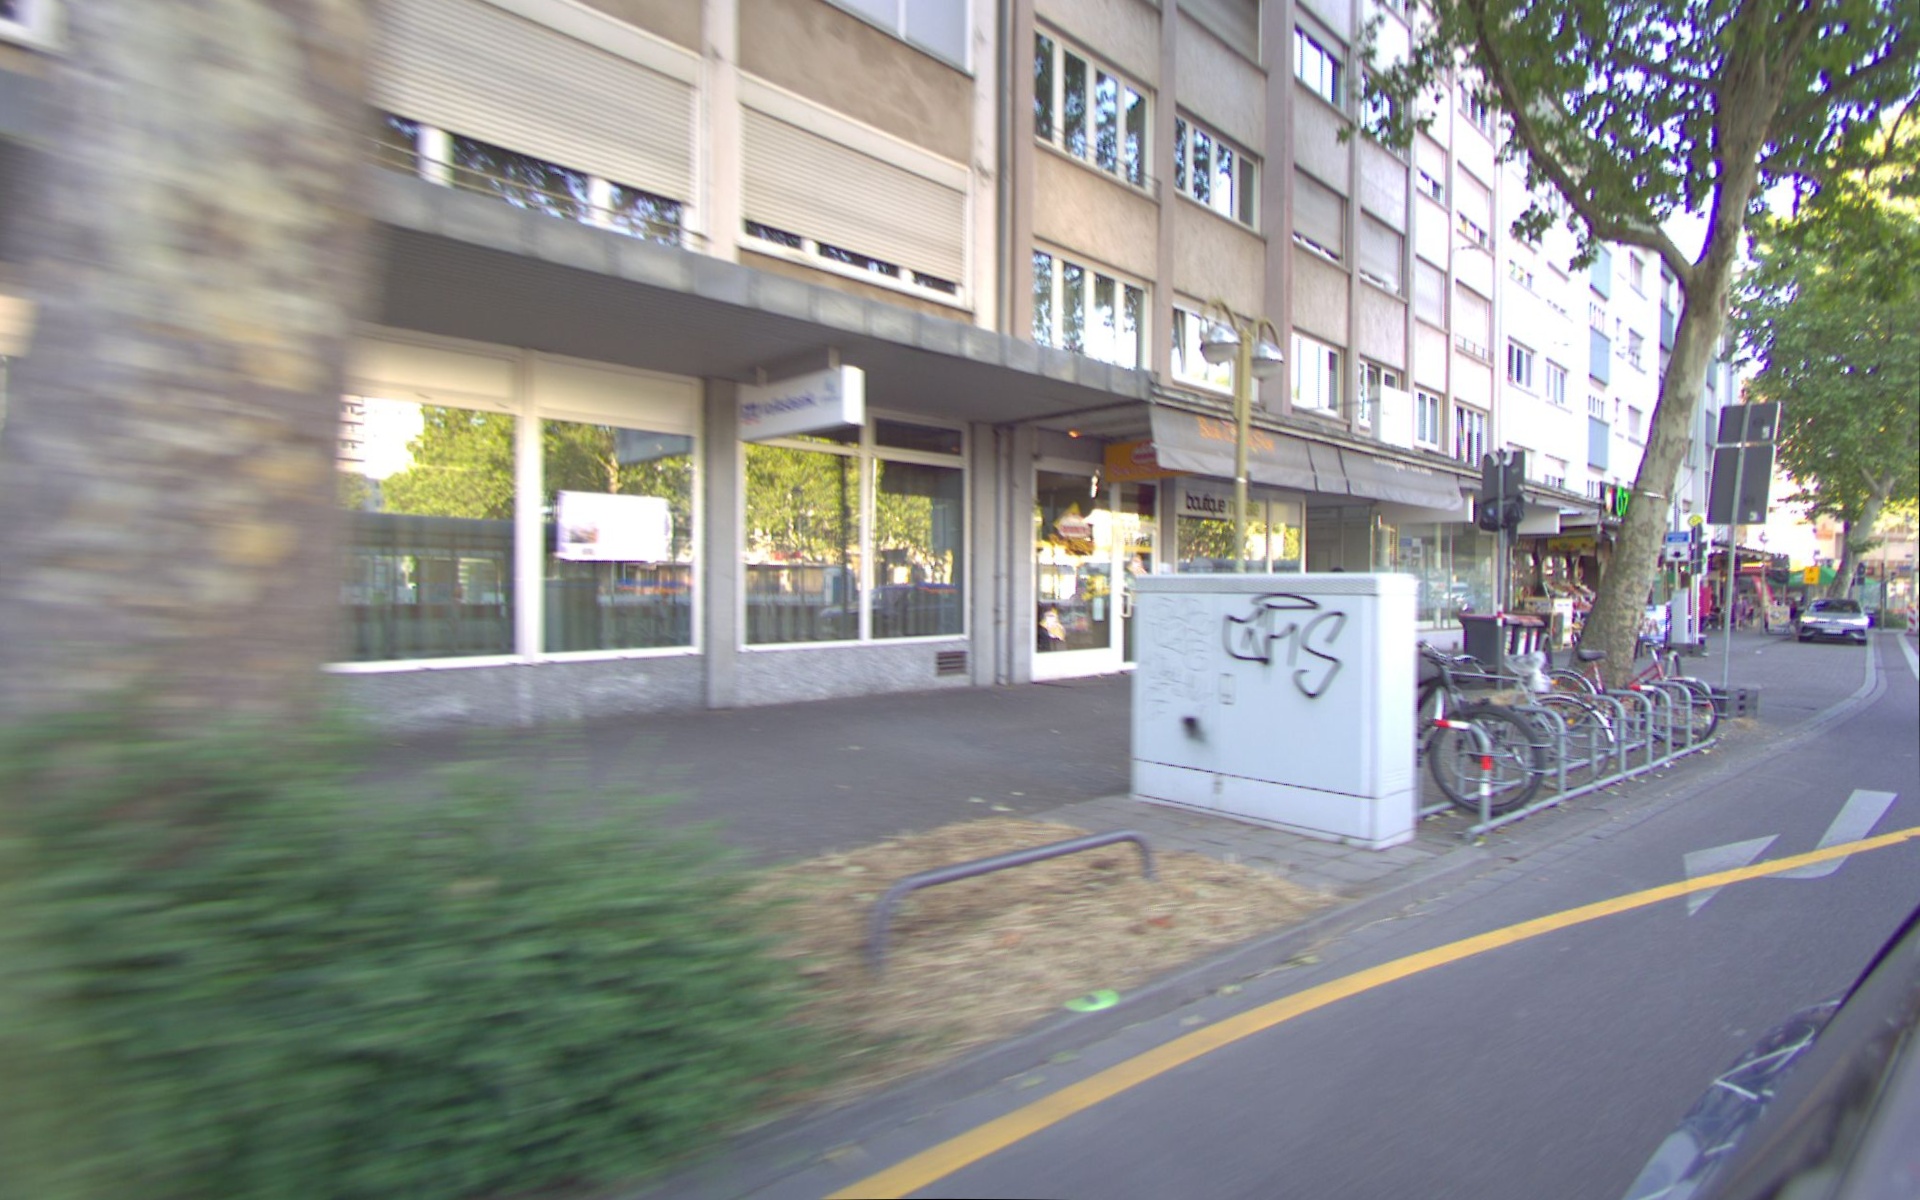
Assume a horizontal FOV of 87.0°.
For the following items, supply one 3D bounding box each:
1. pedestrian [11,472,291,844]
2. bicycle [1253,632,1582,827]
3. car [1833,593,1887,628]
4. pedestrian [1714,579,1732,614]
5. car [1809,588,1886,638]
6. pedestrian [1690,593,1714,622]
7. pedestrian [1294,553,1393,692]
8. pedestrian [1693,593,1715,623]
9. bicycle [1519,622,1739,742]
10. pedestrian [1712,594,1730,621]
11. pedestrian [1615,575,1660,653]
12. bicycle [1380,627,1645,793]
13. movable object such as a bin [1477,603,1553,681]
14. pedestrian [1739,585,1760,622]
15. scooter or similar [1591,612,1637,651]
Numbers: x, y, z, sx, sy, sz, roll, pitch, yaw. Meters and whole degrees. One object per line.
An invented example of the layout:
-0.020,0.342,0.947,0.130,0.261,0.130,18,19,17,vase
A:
-4.273,0.237,5.348,0.900,1.717,1.053,5,4,44,pedestrian
3.189,0.830,7.204,1.986,1.071,0.759,3,2,43,bicycle
41.092,0.445,46.186,1.656,1.498,3.740,2,2,44,car
38.286,-0.160,50.767,0.707,1.731,0.668,0,0,39,pedestrian
31.492,0.399,35.933,1.917,1.617,4.719,2,1,42,car
30.902,0.296,42.150,0.676,1.191,0.699,1,1,45,pedestrian
4.933,0.260,13.016,0.844,1.694,0.974,3,2,44,pedestrian
31.997,0.333,43.528,0.645,1.282,0.597,1,1,45,pedestrian
6.831,0.790,10.392,1.789,1.035,0.634,2,2,43,bicycle
33.648,0.327,44.732,0.513,1.148,0.504,1,1,23,pedestrian
14.956,0.294,22.345,0.637,1.694,0.554,0,0,9,pedestrian
4.332,0.806,8.036,0.633,1.071,1.715,0,2,-43,bicycle
8.480,0.617,15.444,0.674,1.088,1.208,4,3,45,movable object such as a bin
34.023,0.133,43.606,0.631,1.580,0.583,0,2,-43,pedestrian
14.843,0.719,22.988,0.566,0.854,0.733,0,0,-1,scooter or similar
